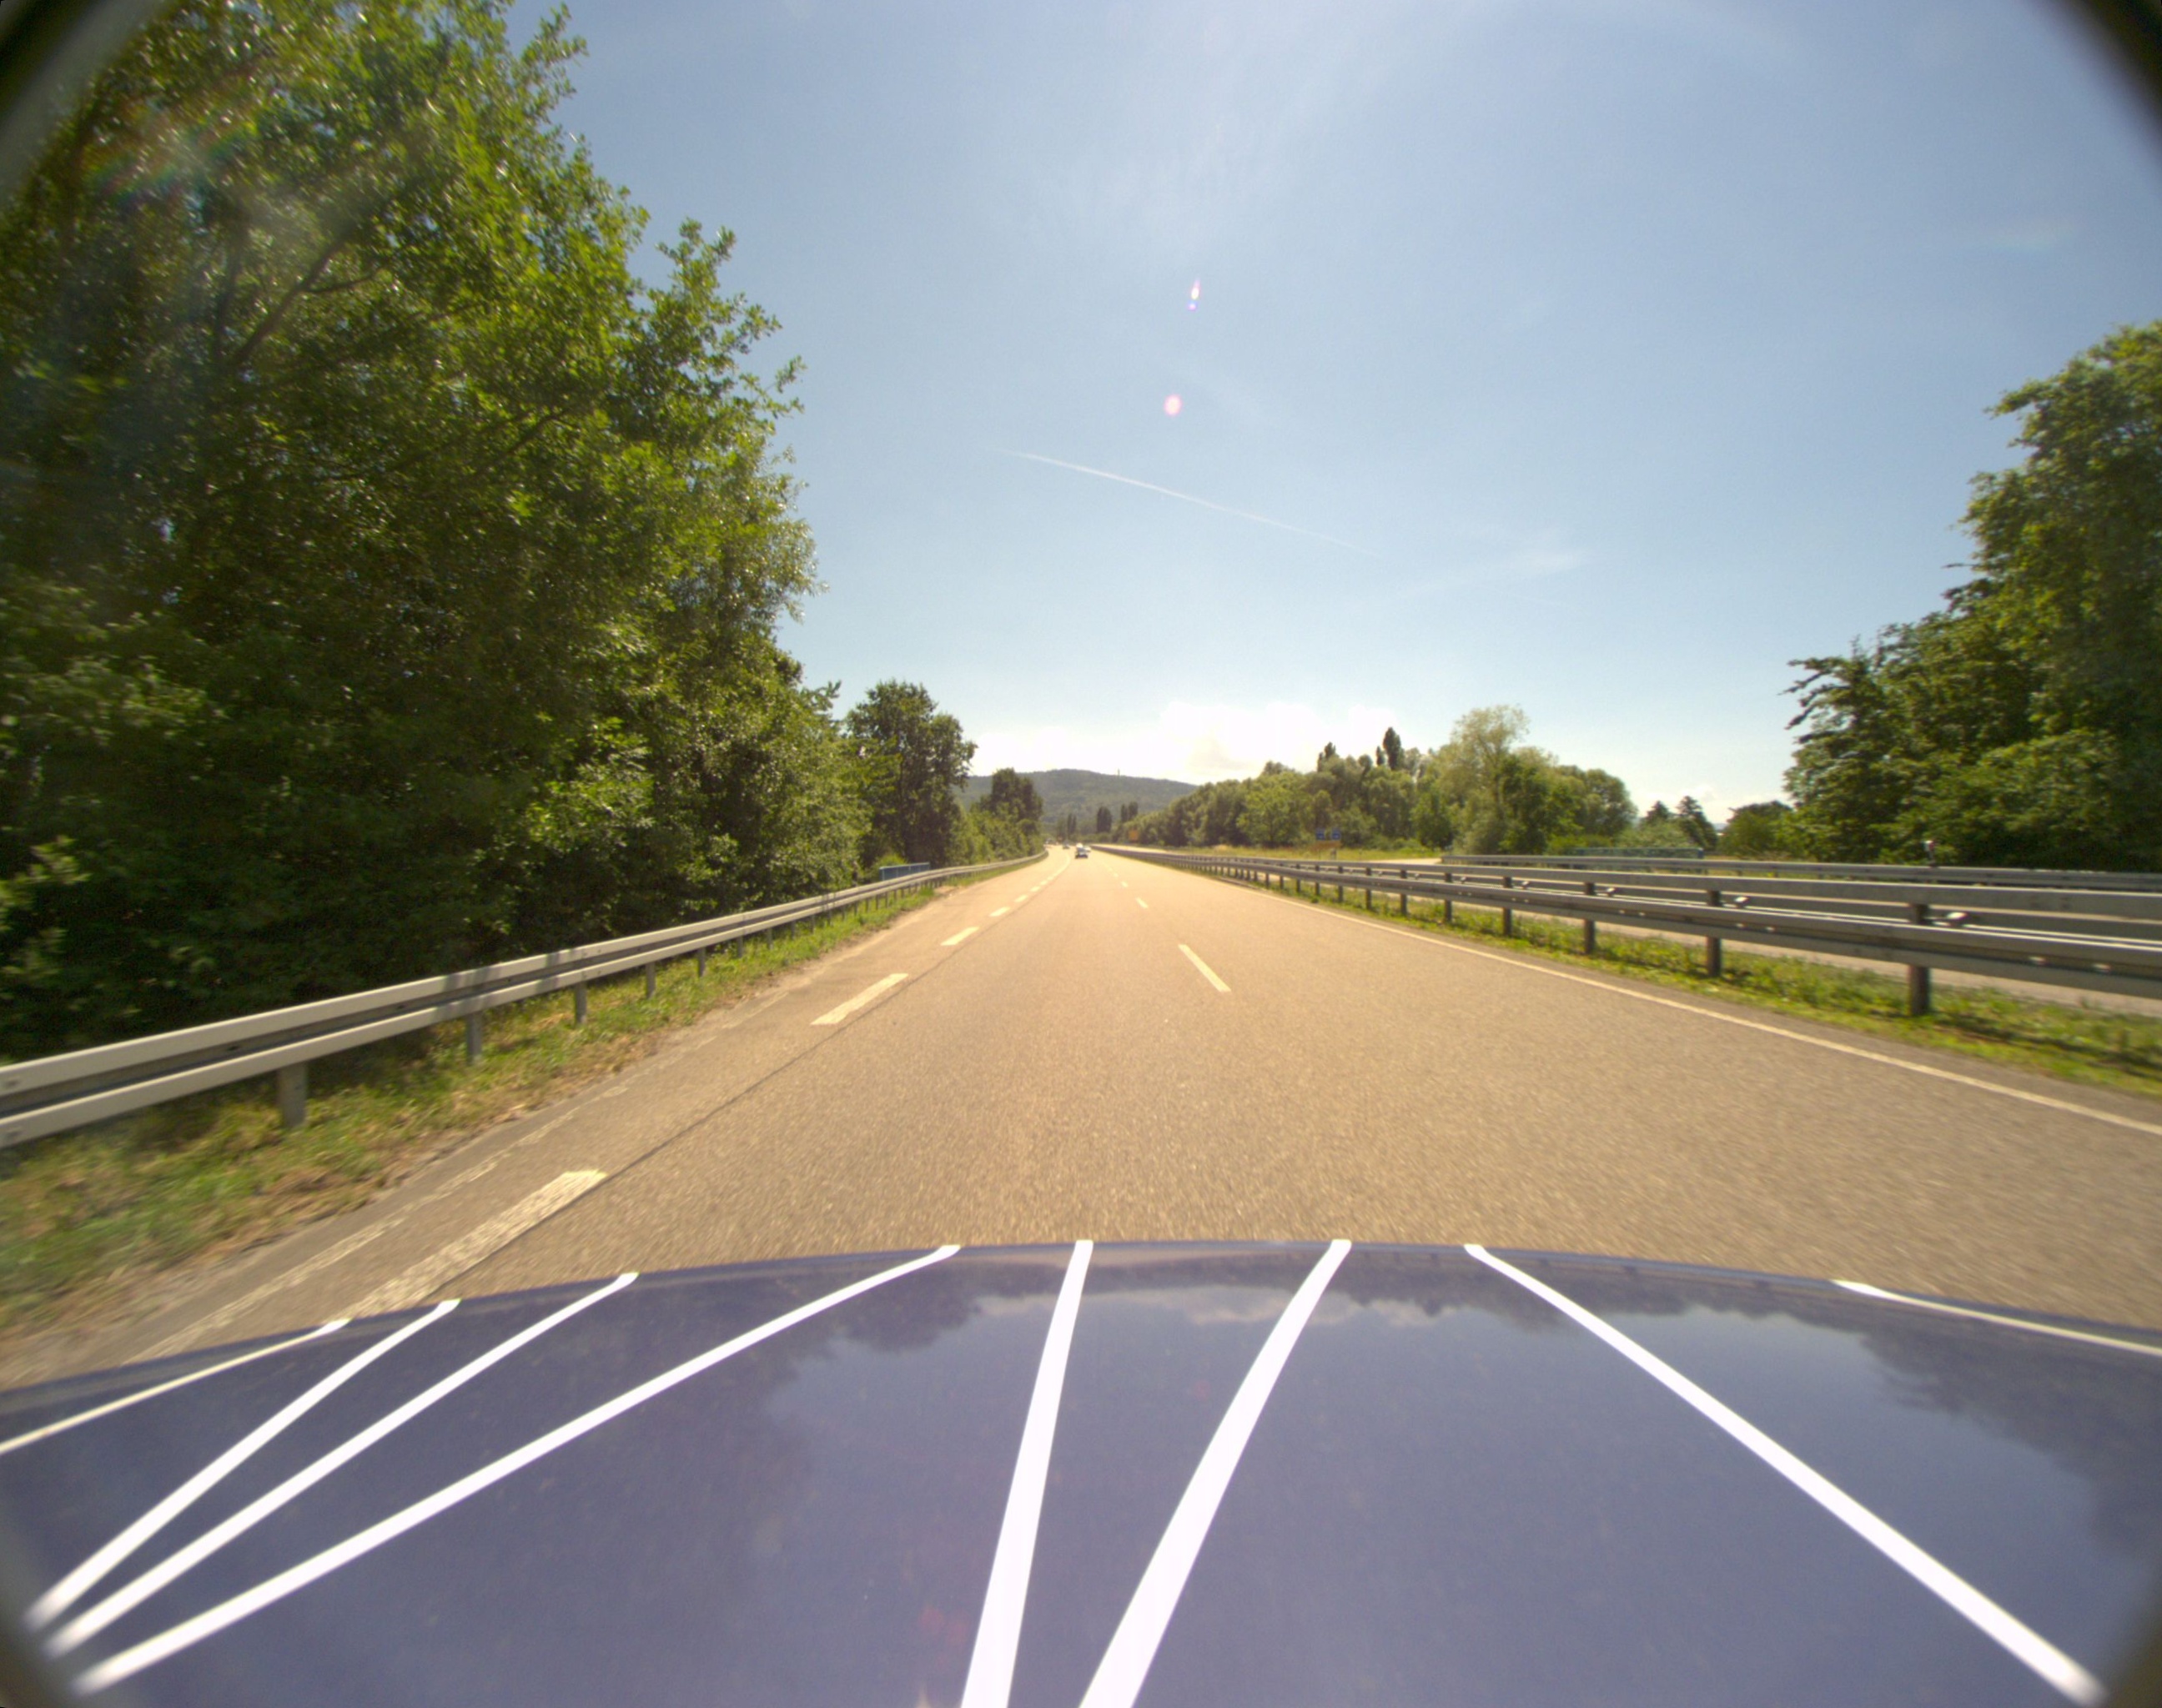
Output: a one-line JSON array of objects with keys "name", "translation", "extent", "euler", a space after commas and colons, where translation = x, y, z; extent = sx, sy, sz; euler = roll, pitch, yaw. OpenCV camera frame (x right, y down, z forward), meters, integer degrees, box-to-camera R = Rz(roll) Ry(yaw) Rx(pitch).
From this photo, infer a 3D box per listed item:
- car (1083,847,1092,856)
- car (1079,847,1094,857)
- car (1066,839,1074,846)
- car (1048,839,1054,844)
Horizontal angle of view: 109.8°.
[{"name": "car", "translation": [1.441, -0.581, 168.908], "extent": [1.908, 1.687, 3.891], "euler": [-2, 1, 3]}, {"name": "car", "translation": [0.856, -0.280, 115.154], "extent": [1.908, 1.368, 3.891], "euler": [-2, 1, 3]}, {"name": "car", "translation": [-3.106, -3.324, 218.962], "extent": [1.908, 1.687, 3.891], "euler": [-2, 1, 3]}, {"name": "car", "translation": [-9.605, -3.975, 247.107], "extent": [1.658, 1.536, 3.690], "euler": [-2, 1, 1]}]
